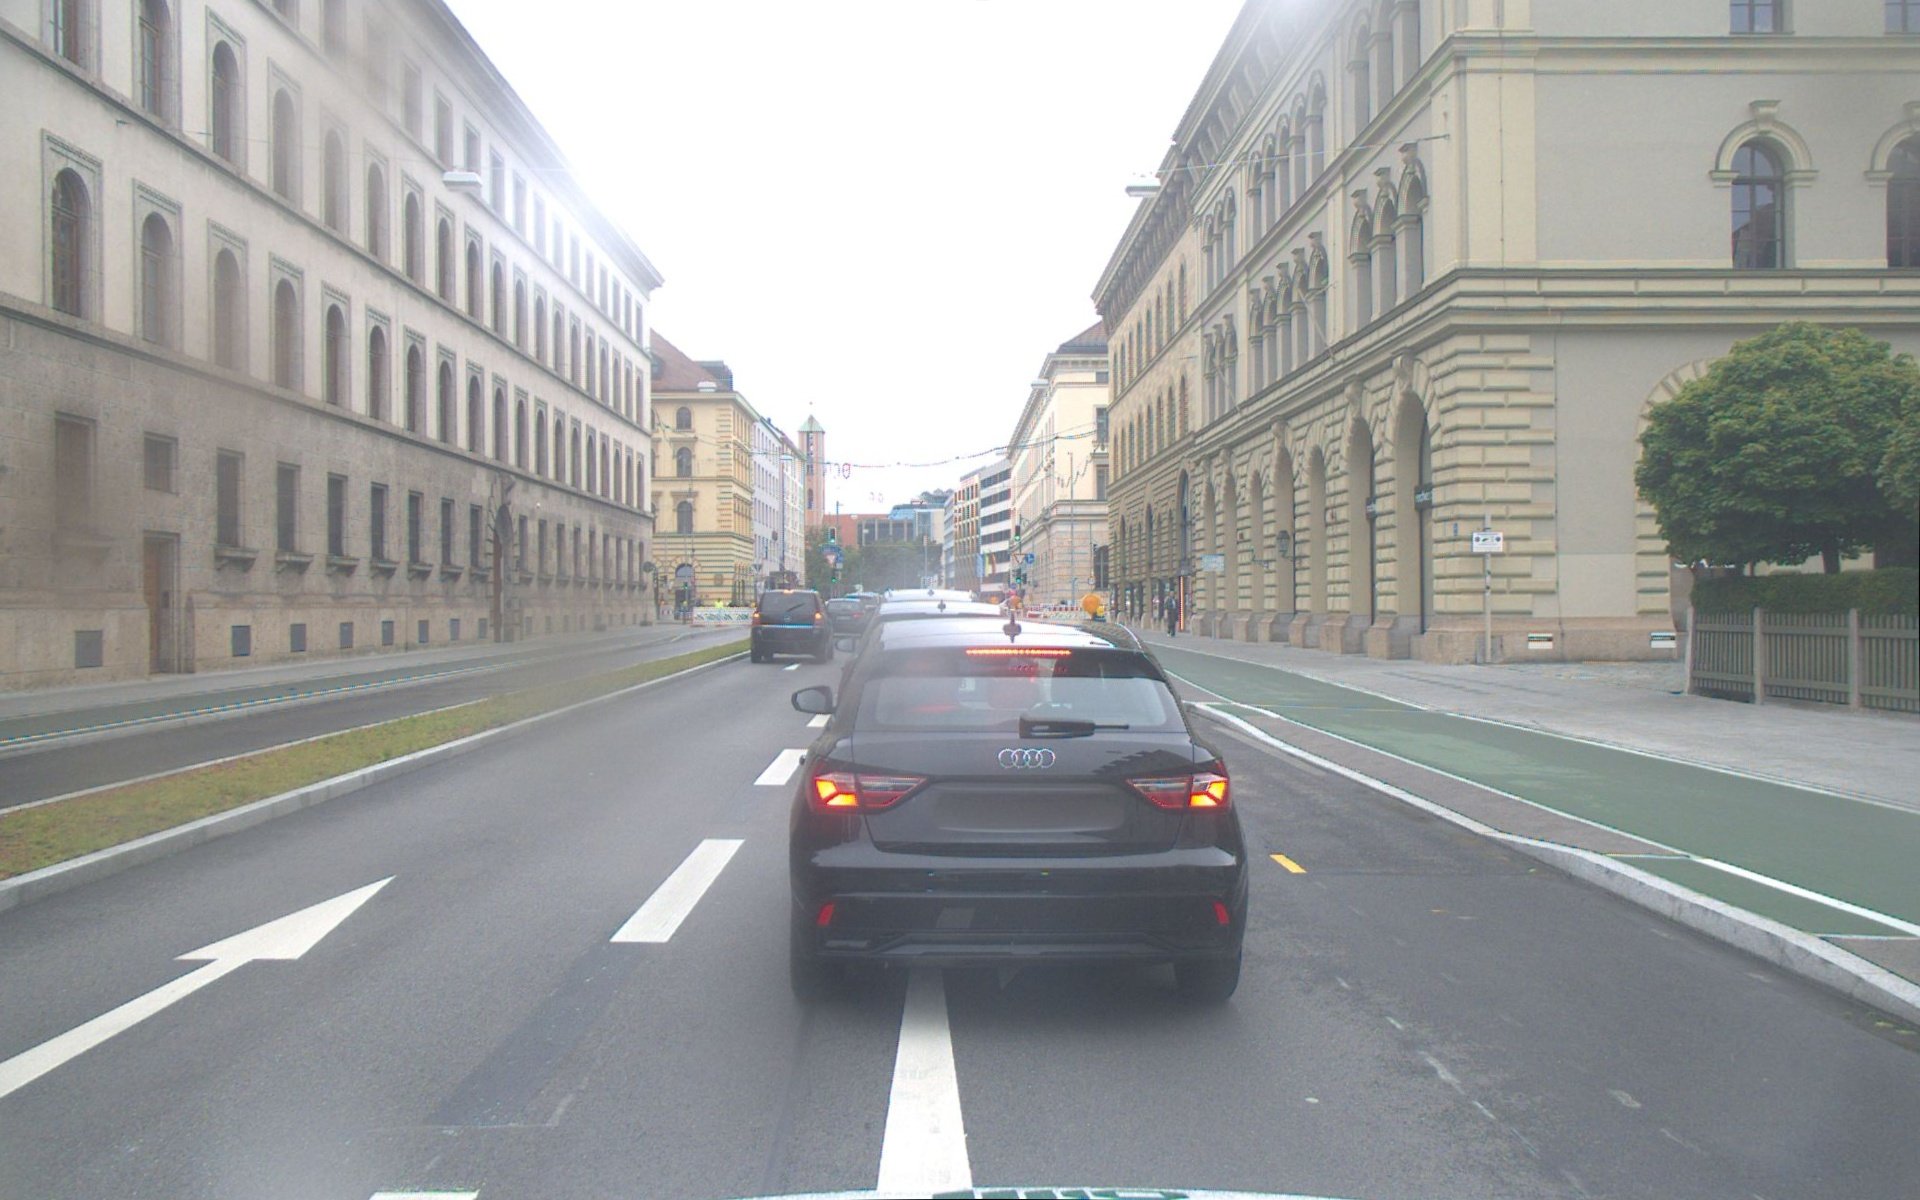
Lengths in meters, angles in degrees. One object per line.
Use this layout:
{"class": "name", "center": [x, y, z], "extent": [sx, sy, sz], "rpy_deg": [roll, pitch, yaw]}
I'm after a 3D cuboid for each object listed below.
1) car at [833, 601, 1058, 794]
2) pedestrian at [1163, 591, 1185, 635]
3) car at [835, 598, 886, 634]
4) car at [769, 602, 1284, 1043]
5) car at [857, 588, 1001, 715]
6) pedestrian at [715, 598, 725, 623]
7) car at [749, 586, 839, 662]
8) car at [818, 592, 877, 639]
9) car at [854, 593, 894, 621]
{"class": "car", "center": [-0.150, 0.745, 14.618], "extent": [1.695, 1.427, 3.999], "rpy_deg": [1, 0, -1]}
{"class": "pedestrian", "center": [8.168, 0.488, 63.118], "extent": [0.695, 1.646, 0.754], "rpy_deg": [0, 0, -2]}
{"class": "car", "center": [-4.236, 0.655, 70.896], "extent": [1.953, 1.469, 3.999], "rpy_deg": [0, 0, -1]}
{"class": "car", "center": [0.185, 0.745, 7.507], "extent": [1.695, 1.427, 3.999], "rpy_deg": [1, 0, -1]}
{"class": "car", "center": [-0.412, 0.611, 21.799], "extent": [1.695, 1.486, 3.999], "rpy_deg": [1, 0, -1]}
{"class": "pedestrian", "center": [-18.151, 0.806, 124.903], "extent": [0.642, 1.836, 0.727], "rpy_deg": [0, 0, -2]}
{"class": "car", "center": [-3.773, 0.517, 38.133], "extent": [1.729, 1.644, 4.029], "rpy_deg": [1, 0, -1]}
{"class": "car", "center": [-4.155, 0.551, 61.502], "extent": [1.953, 1.656, 3.999], "rpy_deg": [0, 0, -1]}
{"class": "car", "center": [-4.542, 0.349, 88.017], "extent": [1.953, 1.469, 3.999], "rpy_deg": [0, 0, -1]}
